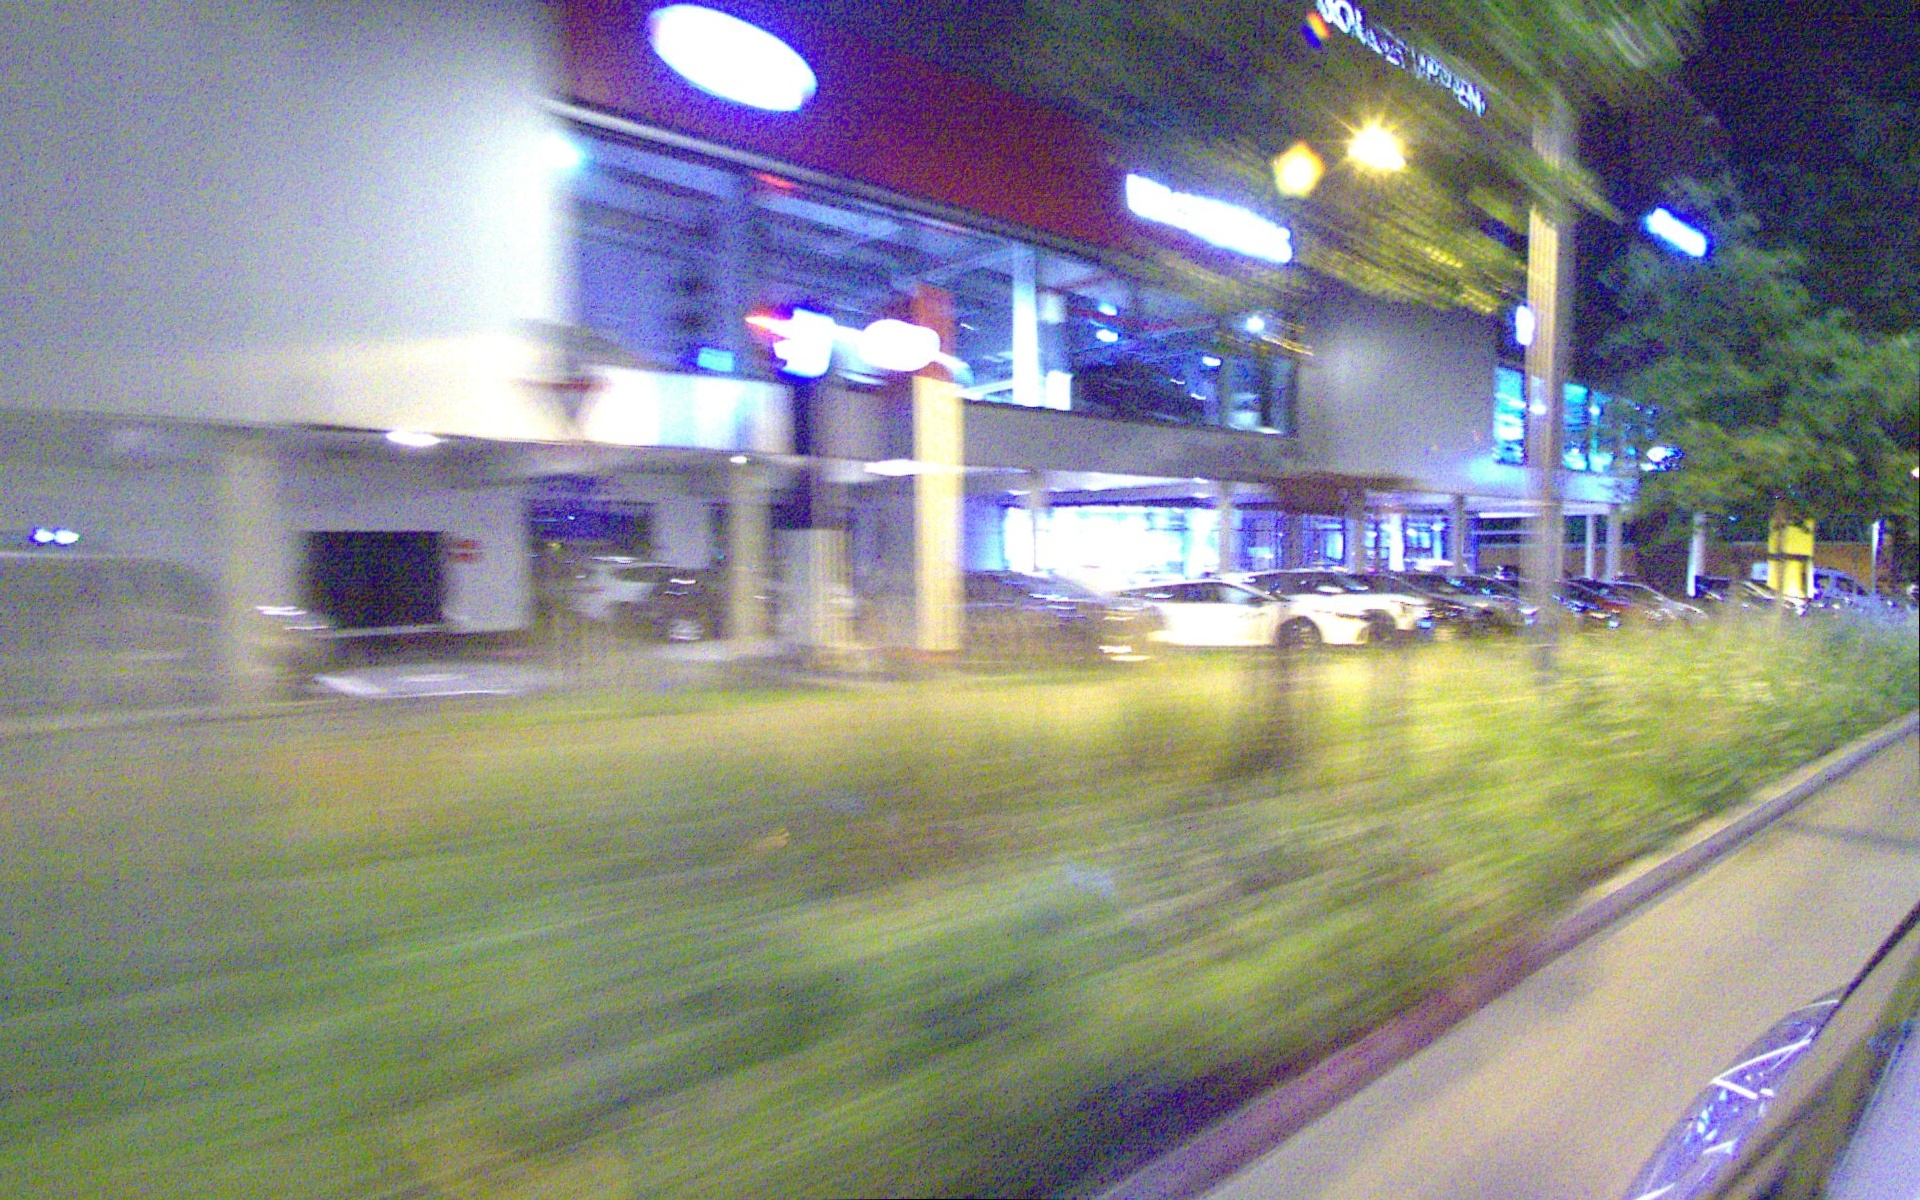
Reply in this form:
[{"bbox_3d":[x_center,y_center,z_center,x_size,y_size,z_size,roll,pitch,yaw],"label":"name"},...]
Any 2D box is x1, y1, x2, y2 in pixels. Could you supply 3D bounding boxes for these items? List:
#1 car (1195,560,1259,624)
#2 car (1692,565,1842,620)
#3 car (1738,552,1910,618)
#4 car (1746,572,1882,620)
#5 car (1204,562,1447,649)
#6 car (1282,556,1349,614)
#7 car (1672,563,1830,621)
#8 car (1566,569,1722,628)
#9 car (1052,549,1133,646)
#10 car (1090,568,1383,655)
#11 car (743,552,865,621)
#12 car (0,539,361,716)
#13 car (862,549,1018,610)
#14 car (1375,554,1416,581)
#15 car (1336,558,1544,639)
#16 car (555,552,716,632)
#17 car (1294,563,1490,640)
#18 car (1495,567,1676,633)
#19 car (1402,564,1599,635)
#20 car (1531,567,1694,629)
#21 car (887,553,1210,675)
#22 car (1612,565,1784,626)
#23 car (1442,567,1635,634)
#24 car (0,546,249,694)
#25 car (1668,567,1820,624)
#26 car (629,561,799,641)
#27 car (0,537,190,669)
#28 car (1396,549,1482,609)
[{"bbox_3d":[6.718,-0.237,25.700,1.300,1.505,3.064,1,1,10],"label":"car"},{"bbox_3d":[31.798,-0.346,39.960,4.458,1.832,1.970,6,4,41],"label":"car"},{"bbox_3d":[42.526,-0.815,50.067,6.003,2.558,2.255,8,5,35],"label":"car"},{"bbox_3d":[35.966,-0.219,42.738,4.201,1.683,1.932,6,4,41],"label":"car"},{"bbox_3d":[6.854,0.049,19.109,3.973,1.441,1.886,2,1,34],"label":"car"},{"bbox_3d":[9.904,-0.443,28.363,1.604,1.482,3.774,2,2,18],"label":"car"},{"bbox_3d":[29.763,-0.348,38.160,4.460,1.706,1.970,8,6,41],"label":"car"},{"bbox_3d":[20.929,-0.083,31.012,3.796,1.470,1.694,6,4,38],"label":"car"},{"bbox_3d":[2.956,-0.152,22.054,1.563,1.817,3.861,0,4,10],"label":"car"},{"bbox_3d":[4.741,0.140,17.472,4.600,1.280,1.929,2,1,27],"label":"car"},{"bbox_3d":[-4.164,-0.418,26.673,1.717,1.604,3.490,-3,5,-37],"label":"car"},{"bbox_3d":[-11.069,0.279,12.975,5.537,2.038,1.995,-1,2,-45],"label":"car"},{"bbox_3d":[-0.566,-0.613,29.404,4.258,1.675,1.650,1,1,15],"label":"car"},{"bbox_3d":[27.756,-2.082,64.404,1.982,1.682,4.622,1,2,29],"label":"car"},{"bbox_3d":[10.704,-0.087,22.635,3.971,1.488,1.812,4,3,32],"label":"car"},{"bbox_3d":[-7.632,-0.249,23.959,3.247,1.660,1.635,-3,6,-45],"label":"car"},{"bbox_3d":[8.884,-0.020,20.841,3.580,1.451,1.664,1,1,28],"label":"car"},{"bbox_3d":[17.035,-0.057,27.636,4.014,1.389,1.802,7,5,36],"label":"car"},{"bbox_3d":[12.887,-0.048,24.304,3.967,1.409,1.807,4,2,30],"label":"car"},{"bbox_3d":[18.959,-0.111,29.462,3.763,1.395,1.693,7,5,38],"label":"car"},{"bbox_3d":[1.125,0.122,13.905,4.113,1.438,1.851,1,1,38],"label":"car"},{"bbox_3d":[25.018,-0.206,34.402,4.462,1.565,1.743,8,7,42],"label":"car"},{"bbox_3d":[14.766,-0.038,25.957,3.986,1.397,1.782,6,4,41],"label":"car"},{"bbox_3d":[-13.260,0.243,14.892,1.812,2.018,4.339,1,2,44],"label":"car"},{"bbox_3d":[27.813,-0.204,35.989,4.080,1.587,1.827,8,5,41],"label":"car"},{"bbox_3d":[-5.485,-0.051,22.776,3.362,1.531,1.634,-5,6,-45],"label":"car"},{"bbox_3d":[-15.271,0.023,16.312,1.952,2.018,4.339,1,2,44],"label":"car"},{"bbox_3d":[16.704,-0.745,35.512,1.808,1.941,4.807,1,1,14],"label":"car"}]
